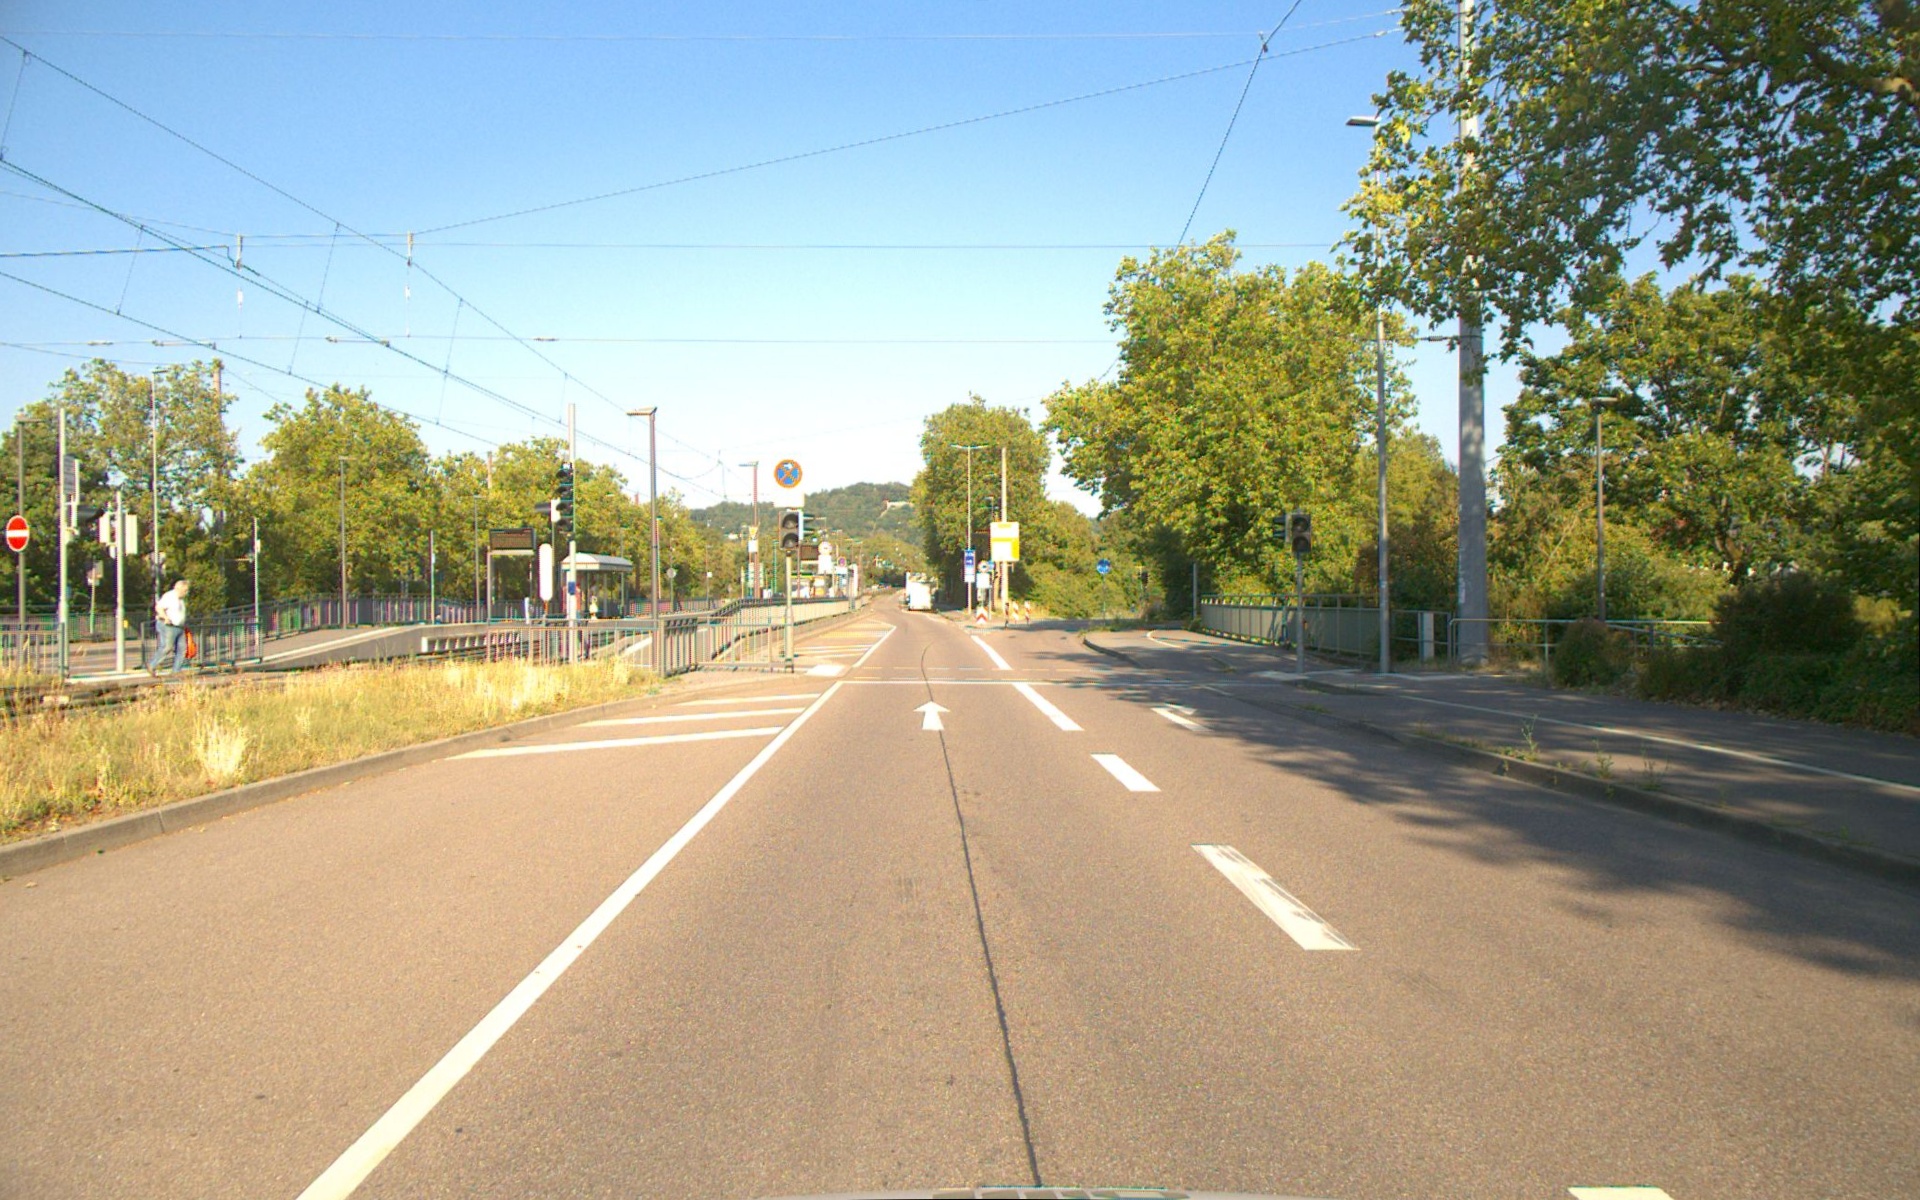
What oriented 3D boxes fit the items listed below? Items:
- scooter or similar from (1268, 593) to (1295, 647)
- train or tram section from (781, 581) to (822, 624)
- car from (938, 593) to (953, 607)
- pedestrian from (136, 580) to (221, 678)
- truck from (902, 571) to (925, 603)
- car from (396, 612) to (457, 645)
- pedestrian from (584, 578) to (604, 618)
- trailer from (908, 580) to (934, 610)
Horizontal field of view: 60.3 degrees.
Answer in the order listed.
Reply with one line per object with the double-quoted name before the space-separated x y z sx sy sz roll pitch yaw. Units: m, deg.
"scooter or similar" 7.959 0.490 40.984 0.418 1.297 1.083 -1 0 -1
"train or tram section" -15.619 0.230 164.212 2.770 4.076 15.871 1 0 -1
"car" -1.656 -0.012 184.221 1.619 1.462 3.777 0 0 -1
"pedestrian" -13.545 0.490 28.685 0.871 1.673 0.987 -1 0 21
"truck" -5.726 -1.606 203.017 2.687 3.849 10.085 1 0 -2
"car" -25.678 1.338 79.674 1.697 1.471 3.999 -1 0 -1
"pedestrian" -16.782 -0.093 75.785 0.686 1.787 0.586 0 0 34
"trailer" -3.660 -0.456 155.366 2.205 2.742 5.948 0 0 1
